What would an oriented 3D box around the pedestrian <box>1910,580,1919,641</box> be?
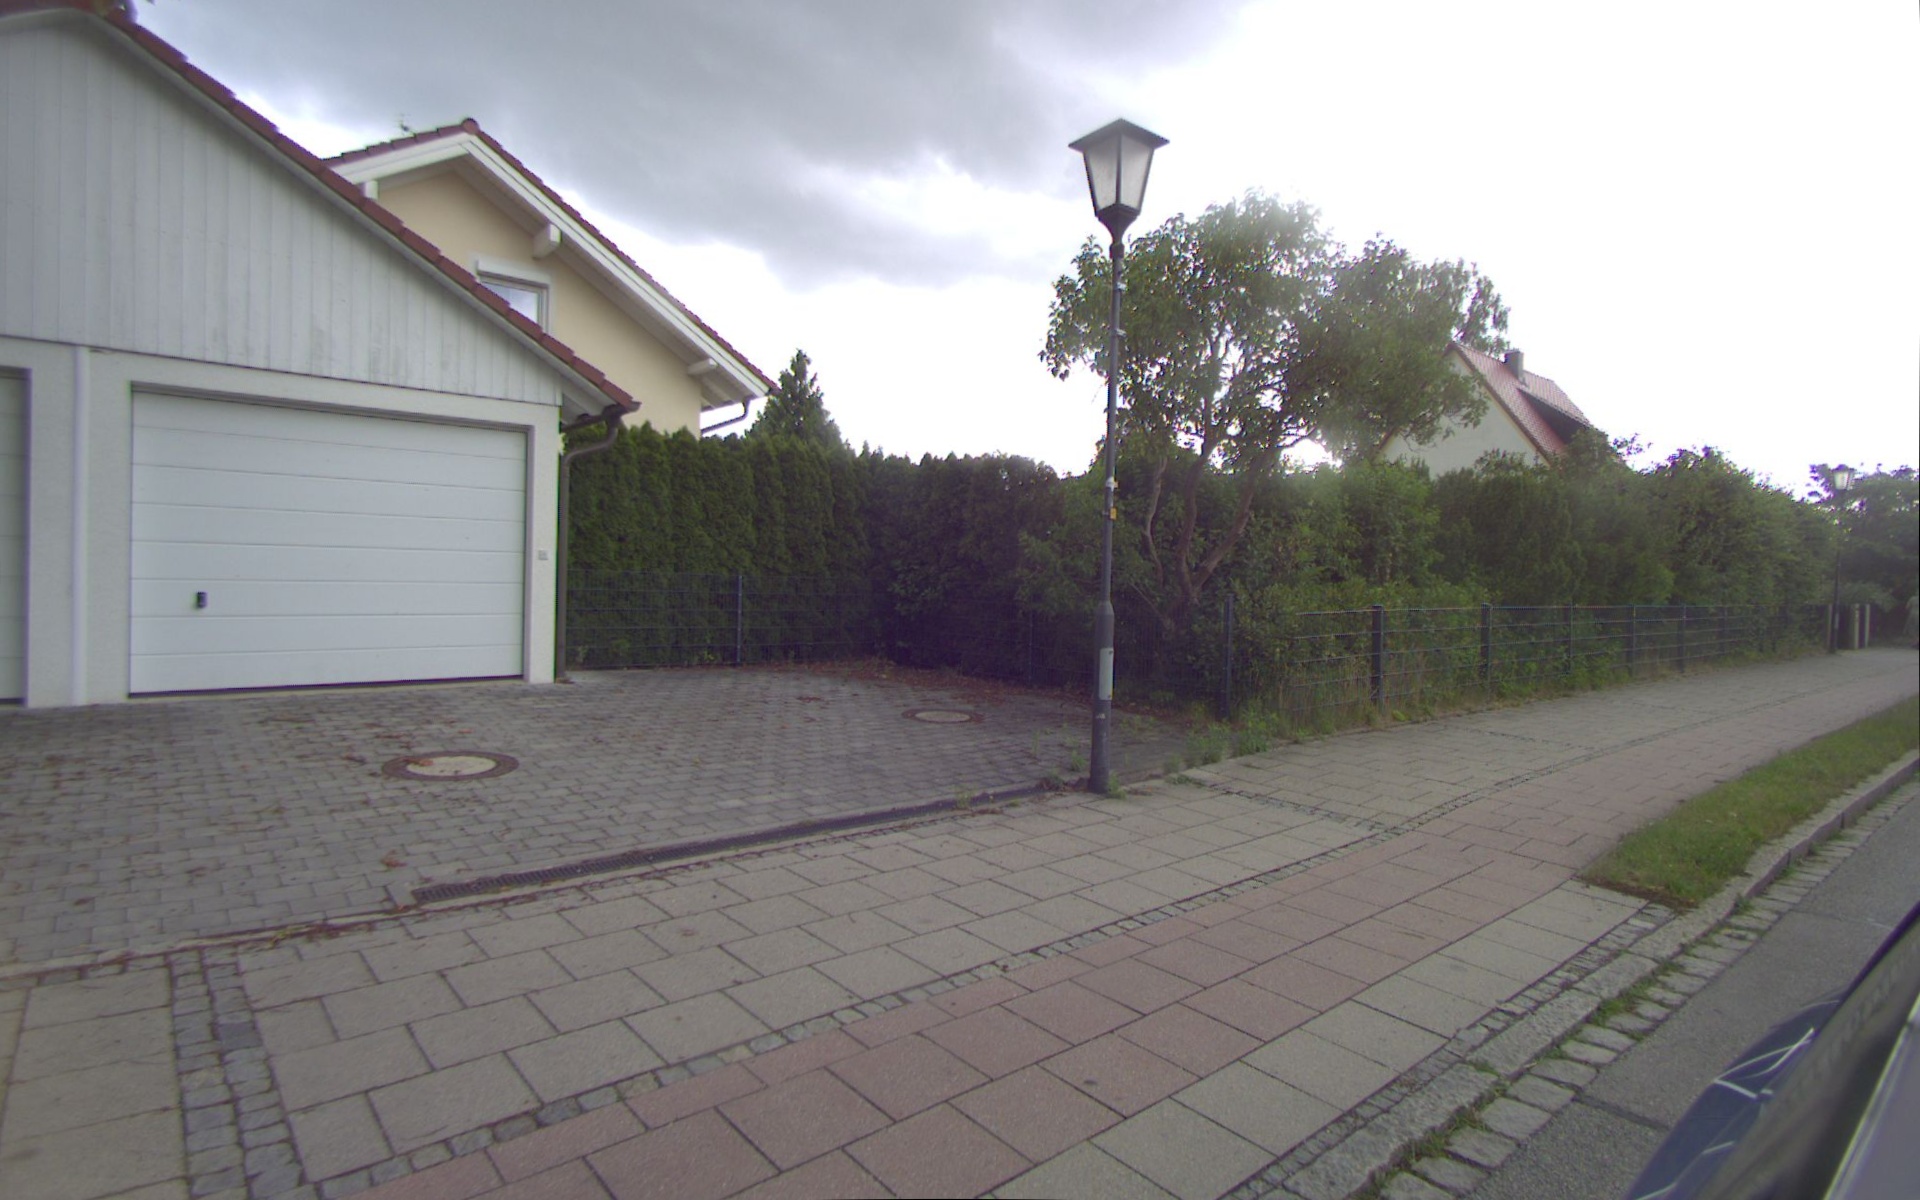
[{"bbox_3d":[25.835,0.288,26.866,0.660,1.621,0.792,0,2,-43],"label":"pedestrian"}]
